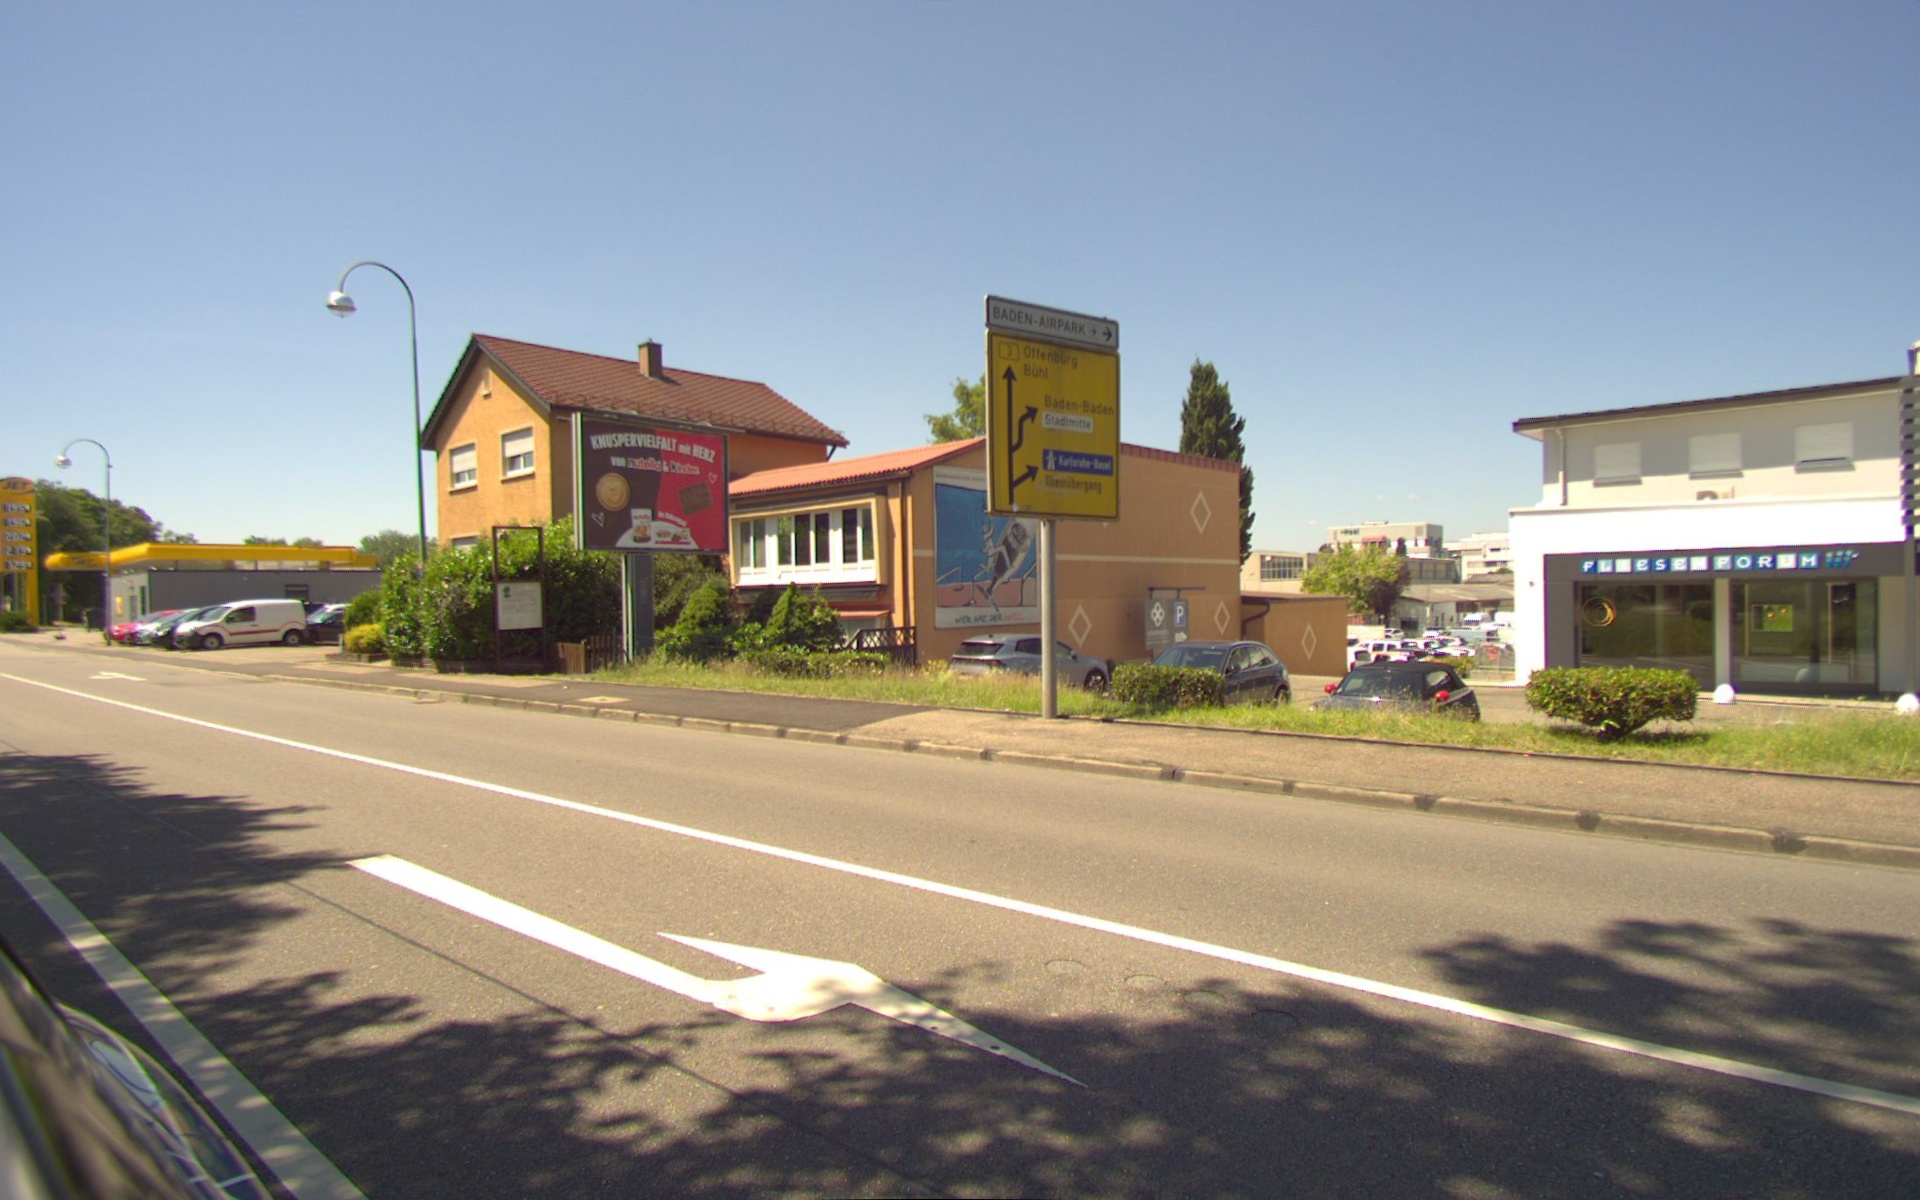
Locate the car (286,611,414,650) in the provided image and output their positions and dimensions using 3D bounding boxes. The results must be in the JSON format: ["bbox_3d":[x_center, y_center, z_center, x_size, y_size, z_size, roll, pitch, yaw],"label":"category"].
[{"bbox_3d":[-26.136,1.275,43.480,1.871,1.575,4.351,-1,-1,35],"label":"car"}]

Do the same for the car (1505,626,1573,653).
[{"bbox_3d":[39.745,2.677,69.517,3.774,1.768,1.707,-1,-1,44],"label":"car"}]

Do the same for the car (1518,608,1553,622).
[{"bbox_3d":[77.203,1.988,135.749,3.774,1.768,1.707,-1,-1,44],"label":"car"}]

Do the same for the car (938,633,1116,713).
[{"bbox_3d":[1.629,1.621,23.677,4.165,1.621,1.773,0,-1,-42],"label":"car"}]

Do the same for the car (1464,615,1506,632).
[{"bbox_3d":[58.430,2.668,112.678,3.774,1.768,1.707,-2,1,44],"label":"car"}]

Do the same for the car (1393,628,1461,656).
[{"bbox_3d":[31.112,2.772,67.425,3.774,1.768,1.707,-1,-1,44],"label":"car"}]

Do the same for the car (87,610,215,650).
[{"bbox_3d":[-37.903,1.352,47.505,1.871,1.773,4.351,-1,-1,35],"label":"car"}]

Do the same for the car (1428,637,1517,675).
[{"bbox_3d":[26.516,2.857,52.382,3.774,1.768,1.707,-1,-1,44],"label":"car"}]

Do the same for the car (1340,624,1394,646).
[{"bbox_3d":[34.025,2.933,84.616,3.774,1.768,1.707,-1,-1,44],"label":"car"}]

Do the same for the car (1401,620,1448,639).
[{"bbox_3d":[44.712,2.801,97.511,3.774,1.768,1.707,-1,0,44],"label":"car"}]

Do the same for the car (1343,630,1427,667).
[{"bbox_3d":[24.456,2.750,58.316,4.001,2.029,1.971,-1,-1,44],"label":"car"}]

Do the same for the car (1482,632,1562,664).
[{"bbox_3d":[32.884,2.770,59.253,3.774,1.768,1.707,-1,-1,44],"label":"car"}]

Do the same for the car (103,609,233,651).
[{"bbox_3d":[-35.935,1.318,46.027,1.871,1.773,4.351,-1,-1,35],"label":"car"}]

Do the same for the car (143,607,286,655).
[{"bbox_3d":[-29.336,1.190,39.922,1.871,1.773,4.198,-1,-1,35],"label":"car"}]

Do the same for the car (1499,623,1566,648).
[{"bbox_3d":[42.725,2.631,75.575,4.055,1.768,1.707,-1,-1,44],"label":"car"}]

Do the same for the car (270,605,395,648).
[{"bbox_3d":[-27.795,1.138,44.930,1.871,1.839,4.351,-1,-1,35],"label":"car"}]

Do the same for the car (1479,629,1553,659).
[{"bbox_3d":[34.957,2.742,63.663,3.774,1.768,1.707,-1,-1,44],"label":"car"}]

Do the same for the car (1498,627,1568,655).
[{"bbox_3d":[38.168,2.696,67.430,3.774,1.768,1.707,-1,-1,44],"label":"car"}]

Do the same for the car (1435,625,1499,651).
[{"bbox_3d":[36.519,2.719,72.980,3.774,1.768,1.707,-1,-1,44],"label":"car"}]

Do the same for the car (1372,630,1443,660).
[{"bbox_3d":[28.303,2.797,64.041,3.774,1.768,1.707,-1,-1,44],"label":"car"}]

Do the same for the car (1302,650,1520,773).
[{"bbox_3d":[7.273,1.651,16.136,4.039,1.544,1.772,0,-1,-44],"label":"car"}]

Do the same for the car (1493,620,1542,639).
[{"bbox_3d":[53.068,2.803,96.314,3.774,1.768,1.707,-1,0,44],"label":"car"}]

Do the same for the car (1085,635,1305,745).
[{"bbox_3d":[4.388,1.527,18.493,4.462,1.654,1.772,0,-1,-44],"label":"car"}]

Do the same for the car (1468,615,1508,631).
[{"bbox_3d":[61.530,2.671,117.878,3.774,1.768,1.707,-1,1,44],"label":"car"}]

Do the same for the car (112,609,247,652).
[{"bbox_3d":[-34.330,1.288,44.625,1.871,1.773,4.351,-1,-1,35],"label":"car"}]

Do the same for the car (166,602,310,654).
[{"bbox_3d":[-27.548,1.022,38.739,1.871,1.883,4.143,-1,-1,35],"label":"car"}]

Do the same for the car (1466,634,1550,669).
[{"bbox_3d":[30.353,2.817,56.086,3.774,1.768,1.707,-1,-1,44],"label":"car"}]

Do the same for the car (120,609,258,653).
[{"bbox_3d":[-32.651,1.267,42.967,1.871,1.773,4.351,-1,-1,35],"label":"car"}]

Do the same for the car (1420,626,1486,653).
[{"bbox_3d":[34.440,2.744,70.771,3.774,1.768,1.707,-1,-1,44],"label":"car"}]

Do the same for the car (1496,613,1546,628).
[{"bbox_3d":[71.824,2.615,129.634,5.303,1.768,2.037,-1,-1,44],"label":"car"}]
